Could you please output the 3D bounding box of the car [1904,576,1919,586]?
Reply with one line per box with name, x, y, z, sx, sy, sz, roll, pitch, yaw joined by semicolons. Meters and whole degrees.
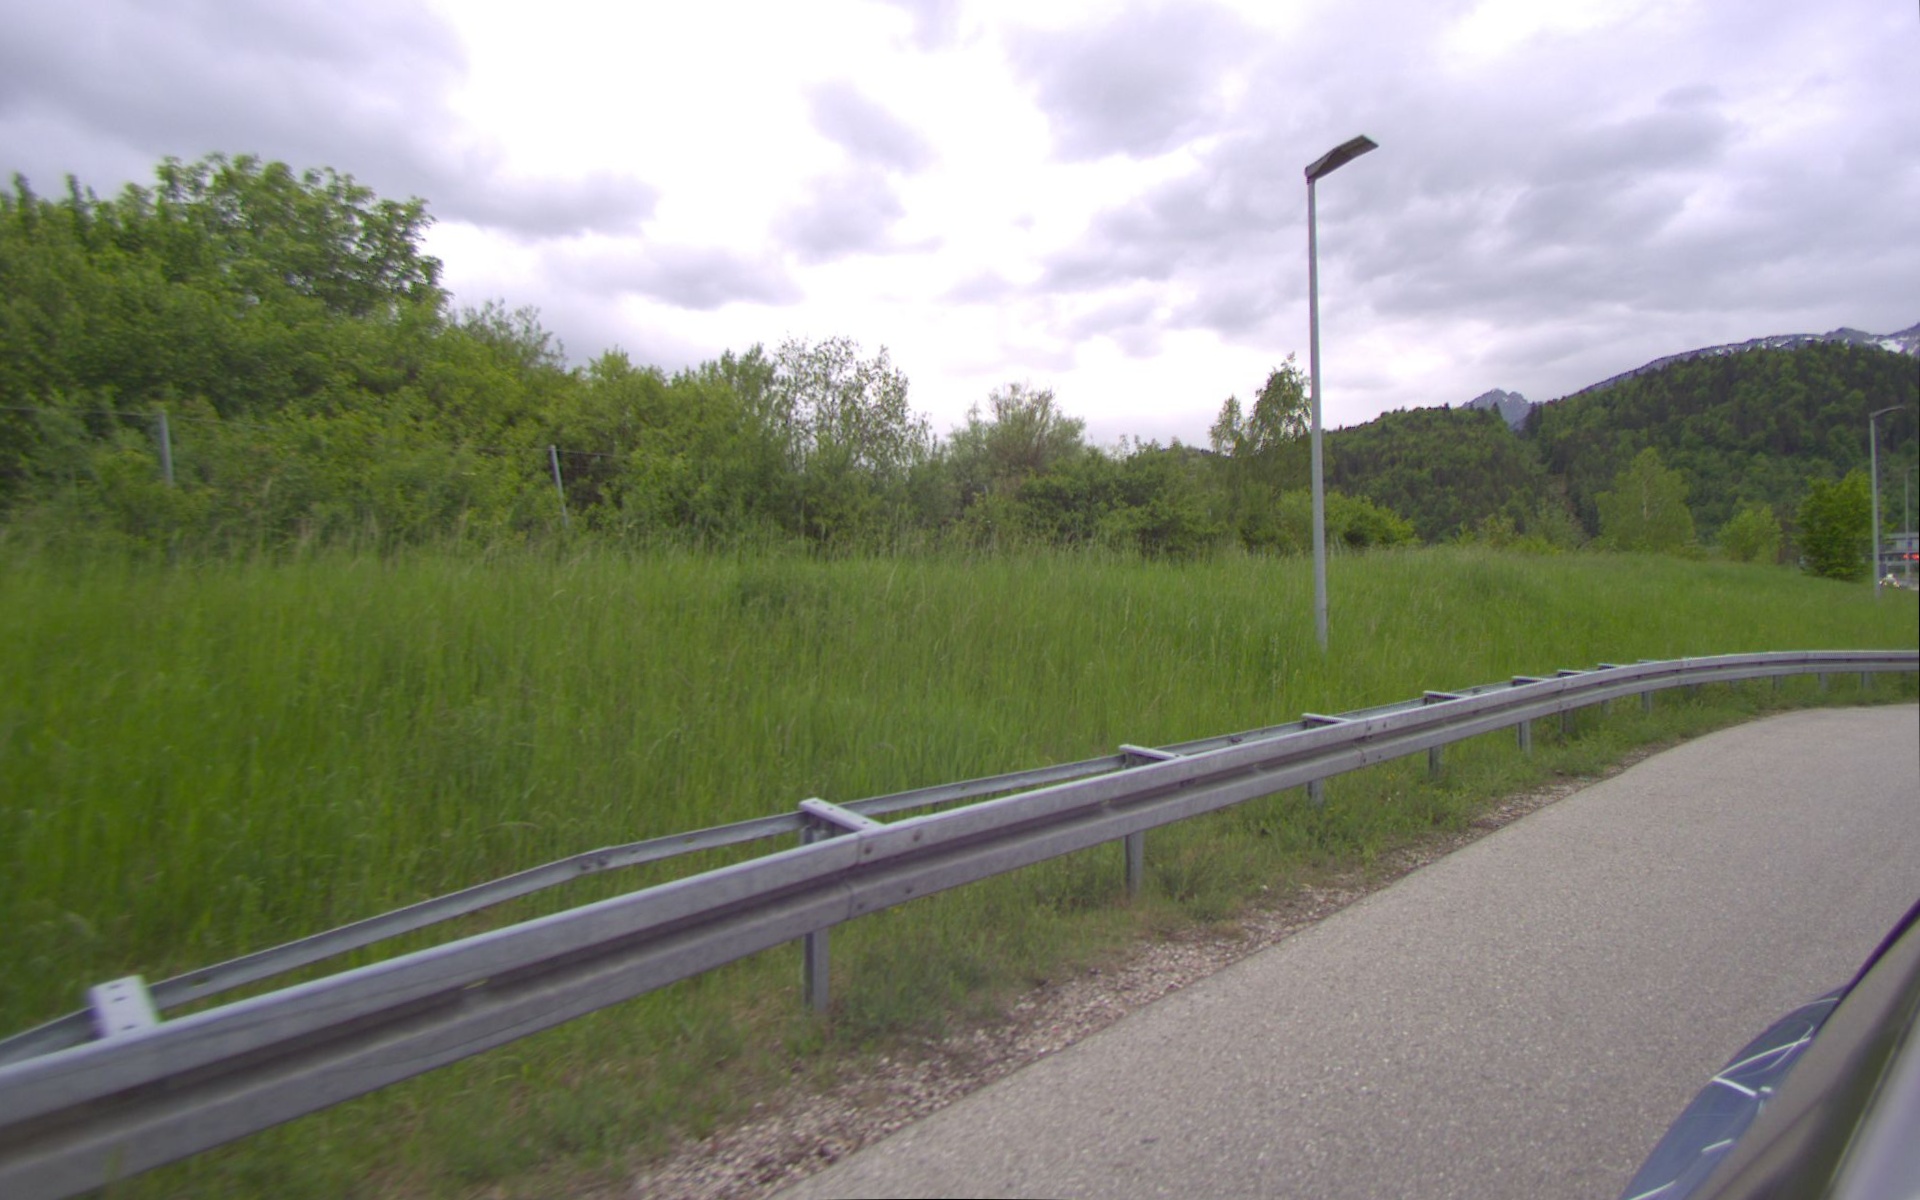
car;155.854;-3.106;165.701;1.730;1.677;3.942;1;2;40
